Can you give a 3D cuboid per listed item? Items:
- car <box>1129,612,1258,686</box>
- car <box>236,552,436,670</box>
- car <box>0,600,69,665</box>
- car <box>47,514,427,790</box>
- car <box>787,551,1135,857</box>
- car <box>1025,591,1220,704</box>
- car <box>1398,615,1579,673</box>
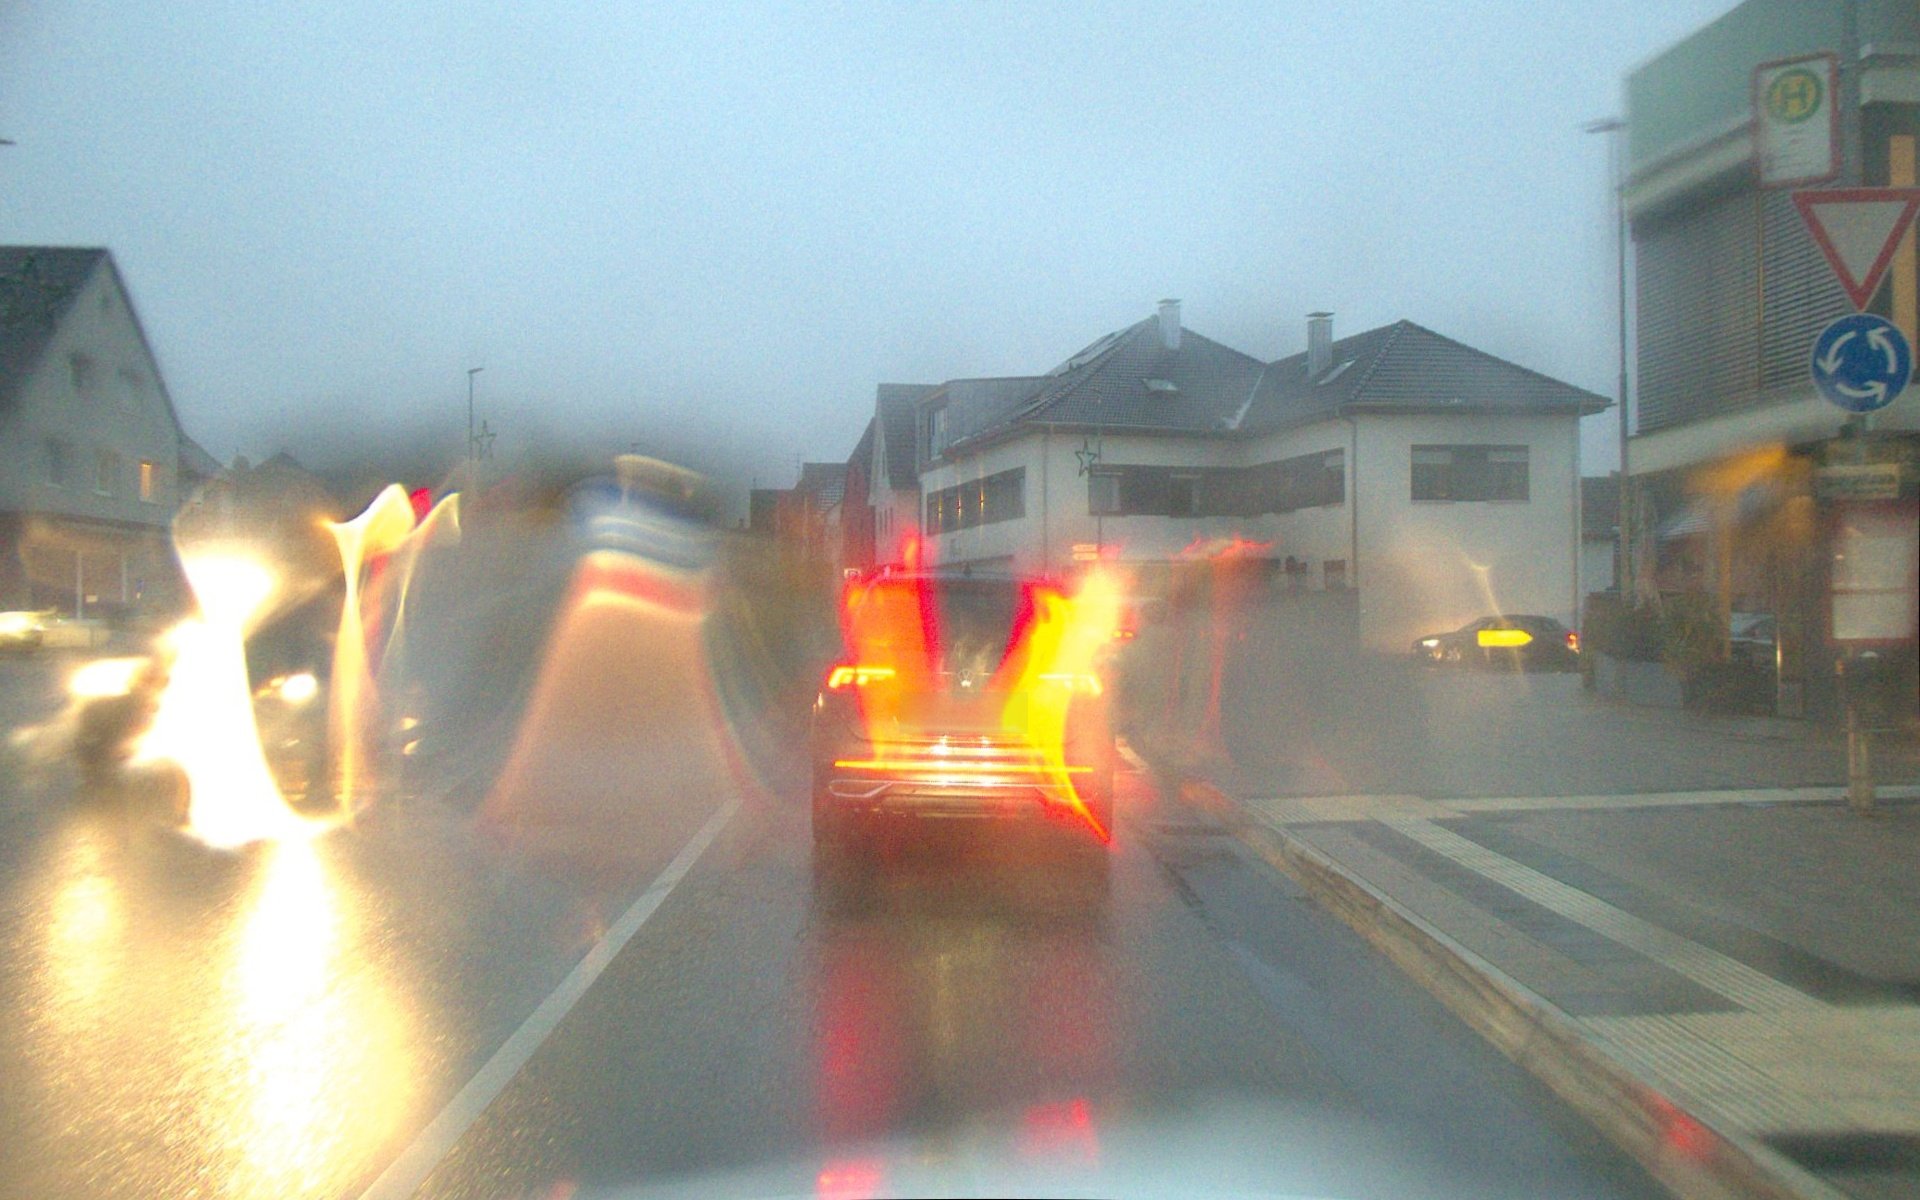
[{"bbox_3d":[5.911,1.212,42.355,1.792,1.656,3.983,-2,1,-15],"label":"car"},{"bbox_3d":[-11.846,0.200,31.209,1.982,2.049,4.826,1,0,-41],"label":"car"},{"bbox_3d":[-22.738,0.765,37.907,3.746,1.447,1.716,0,-2,6],"label":"car"},{"bbox_3d":[-5.553,0.334,13.267,1.687,1.844,4.129,1,1,-8],"label":"car"},{"bbox_3d":[-0.125,0.559,10.929,1.878,1.643,3.947,1,0,-4],"label":"car"},{"bbox_3d":[2.543,0.654,25.101,1.742,1.566,3.929,0,0,25],"label":"car"},{"bbox_3d":[13.793,1.175,43.318,4.139,1.408,1.848,1,-3,-6],"label":"car"}]
